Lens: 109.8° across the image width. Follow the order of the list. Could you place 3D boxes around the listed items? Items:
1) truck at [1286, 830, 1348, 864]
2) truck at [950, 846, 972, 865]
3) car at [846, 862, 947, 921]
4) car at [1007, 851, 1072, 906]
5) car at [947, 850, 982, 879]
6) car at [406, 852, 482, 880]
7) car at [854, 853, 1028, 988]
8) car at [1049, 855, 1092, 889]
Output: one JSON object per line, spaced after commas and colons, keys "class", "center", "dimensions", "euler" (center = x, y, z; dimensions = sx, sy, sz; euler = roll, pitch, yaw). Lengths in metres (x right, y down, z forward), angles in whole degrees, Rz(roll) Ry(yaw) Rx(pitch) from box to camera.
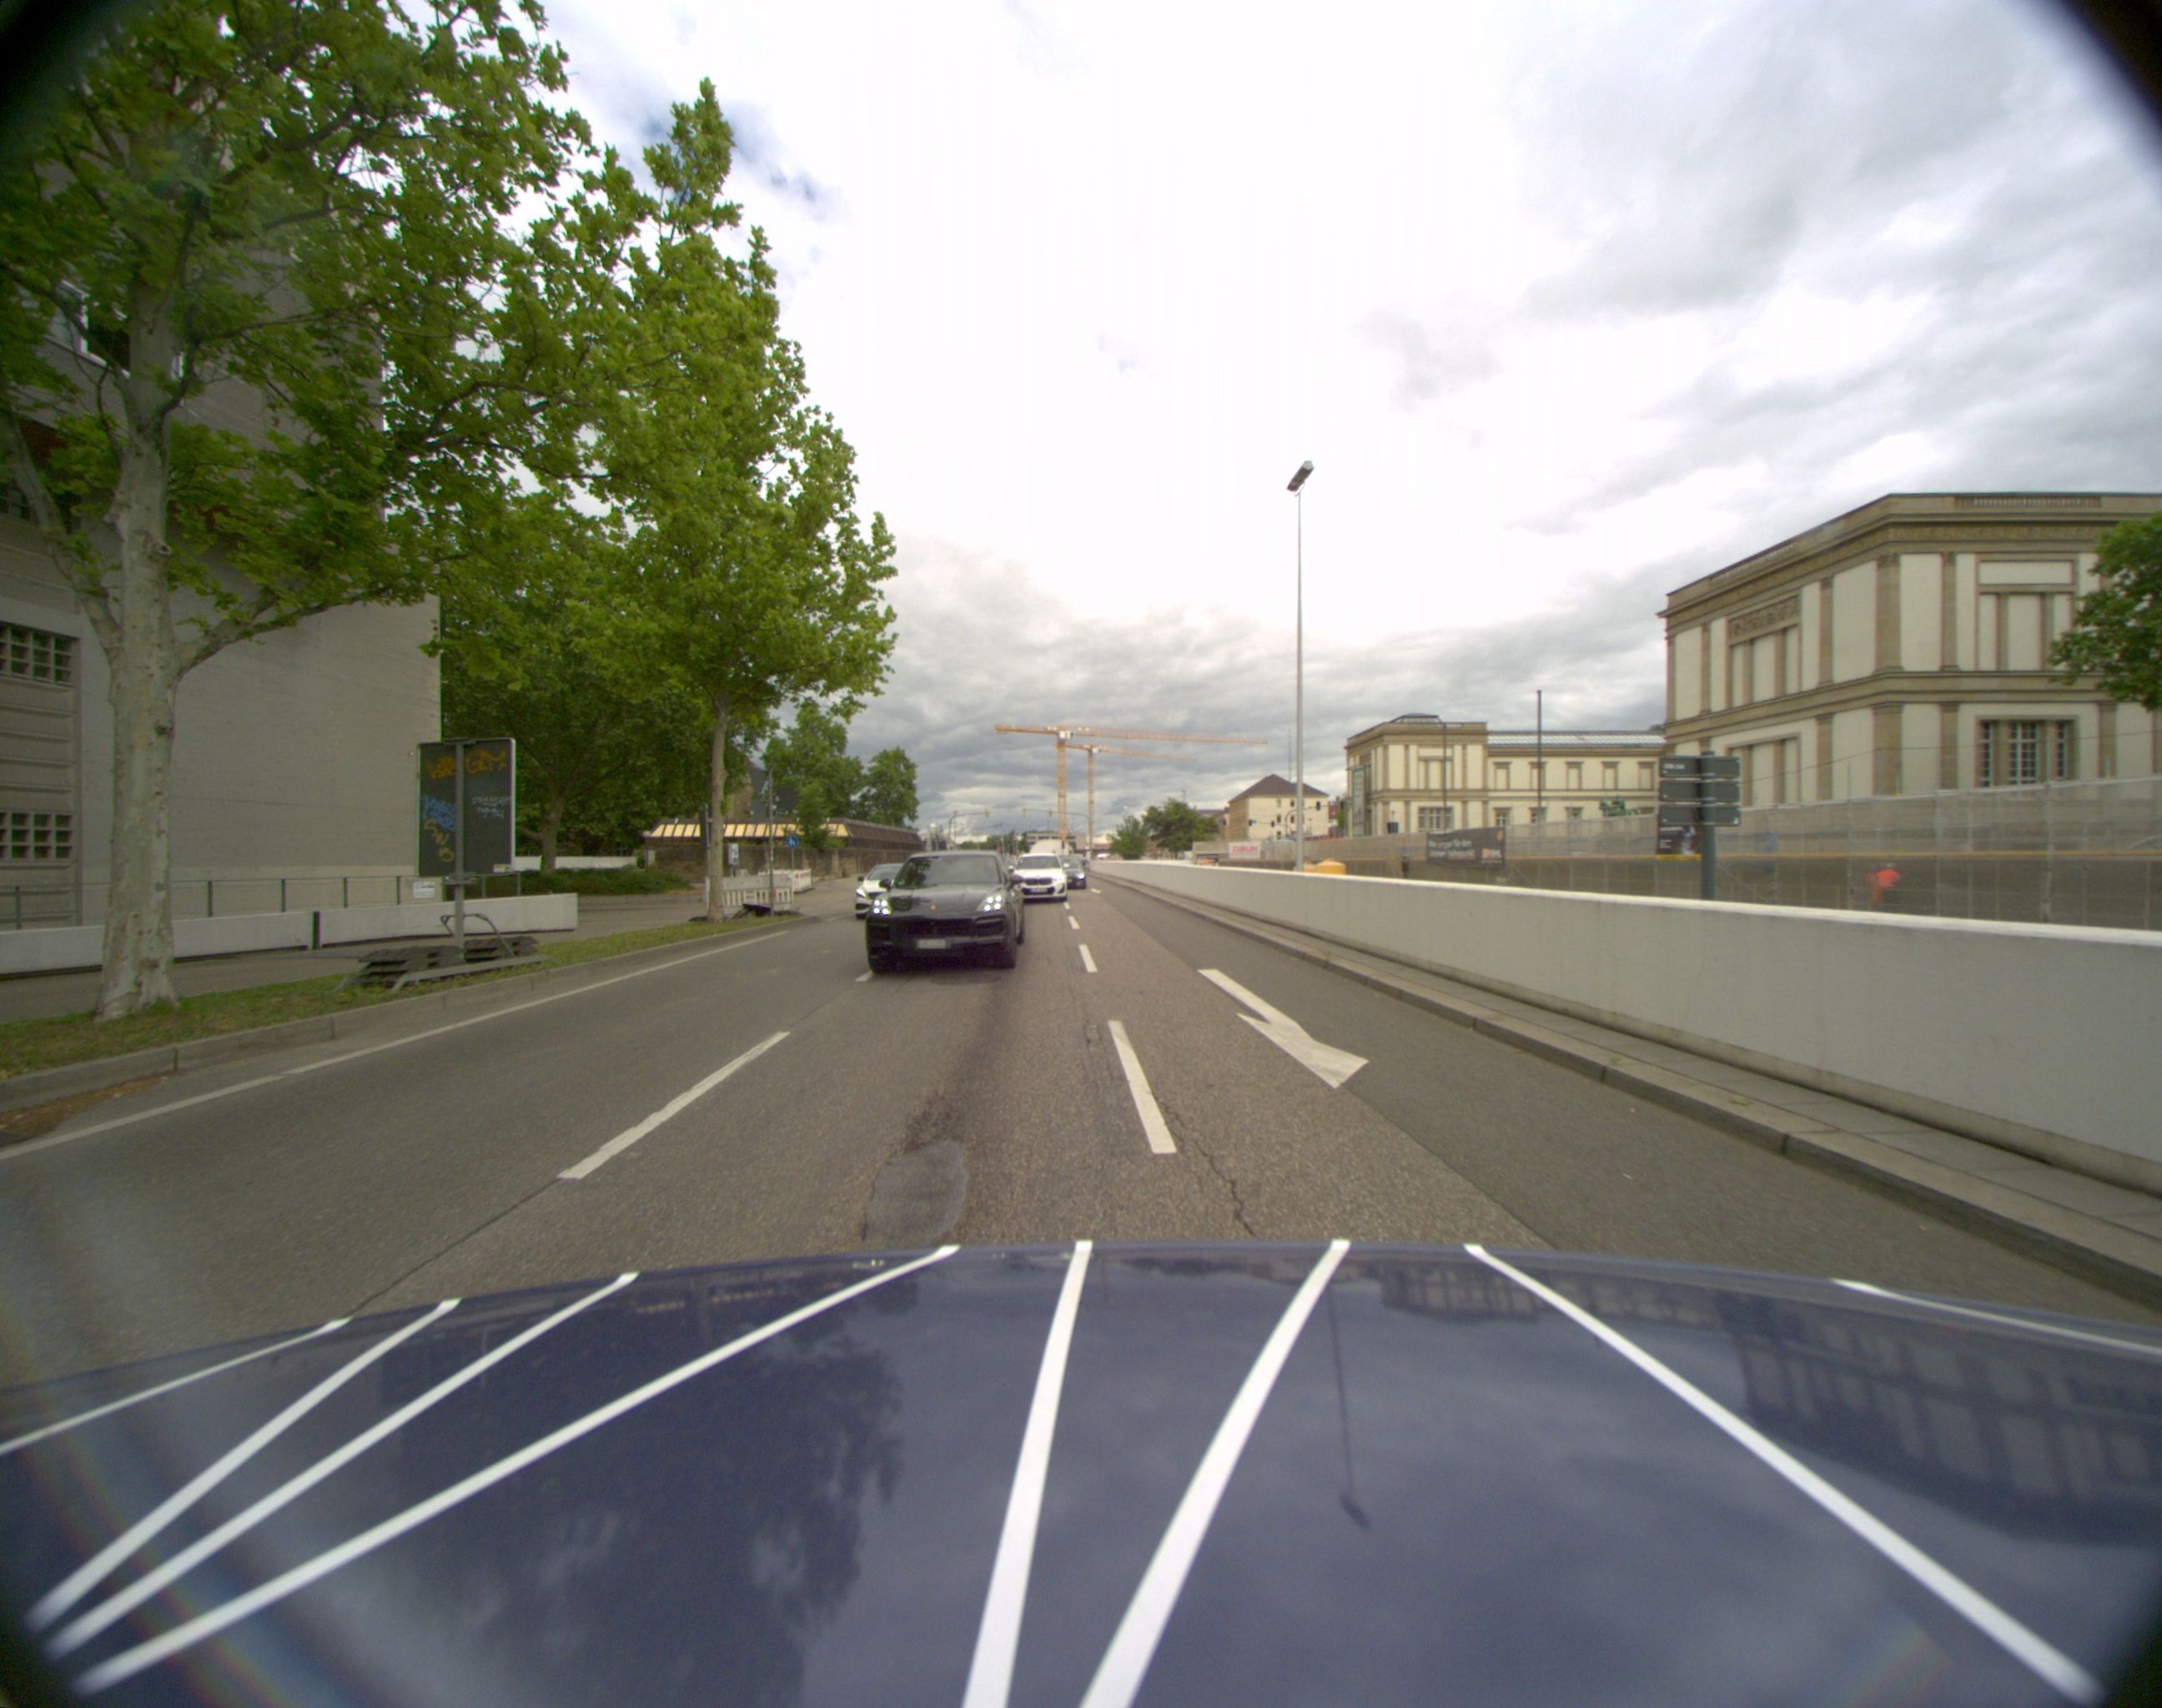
{"class": "truck", "center": [30.499, -0.708, 99.397], "dimensions": [2.925, 4.058, 16.614], "euler": [1, -1, 0]}
{"class": "truck", "center": [-24.491, 0.270, 155.116], "dimensions": [2.913, 3.653, 9.012], "euler": [0, 0, -18]}
{"class": "car", "center": [-4.940, 0.954, 20.956], "dimensions": [1.739, 1.427, 4.381], "euler": [-2, -1, -1]}
{"class": "car", "center": [-1.328, 0.761, 25.638], "dimensions": [1.812, 1.596, 3.712], "euler": [-3, 1, 1]}
{"class": "car", "center": [-7.496, 0.648, 49.210], "dimensions": [1.812, 1.815, 3.772], "euler": [0, 0, -2]}
{"class": "car", "center": [-42.956, 0.743, 51.348], "dimensions": [1.812, 1.815, 3.971], "euler": [0, 0, -2]}
{"class": "car", "center": [-1.908, 0.839, 11.811], "dimensions": [1.956, 1.638, 4.607], "euler": [-1, 0, -2]}
{"class": "car", "center": [-0.452, 0.812, 35.282], "dimensions": [1.852, 1.412, 4.105], "euler": [-2, 0, 0]}
